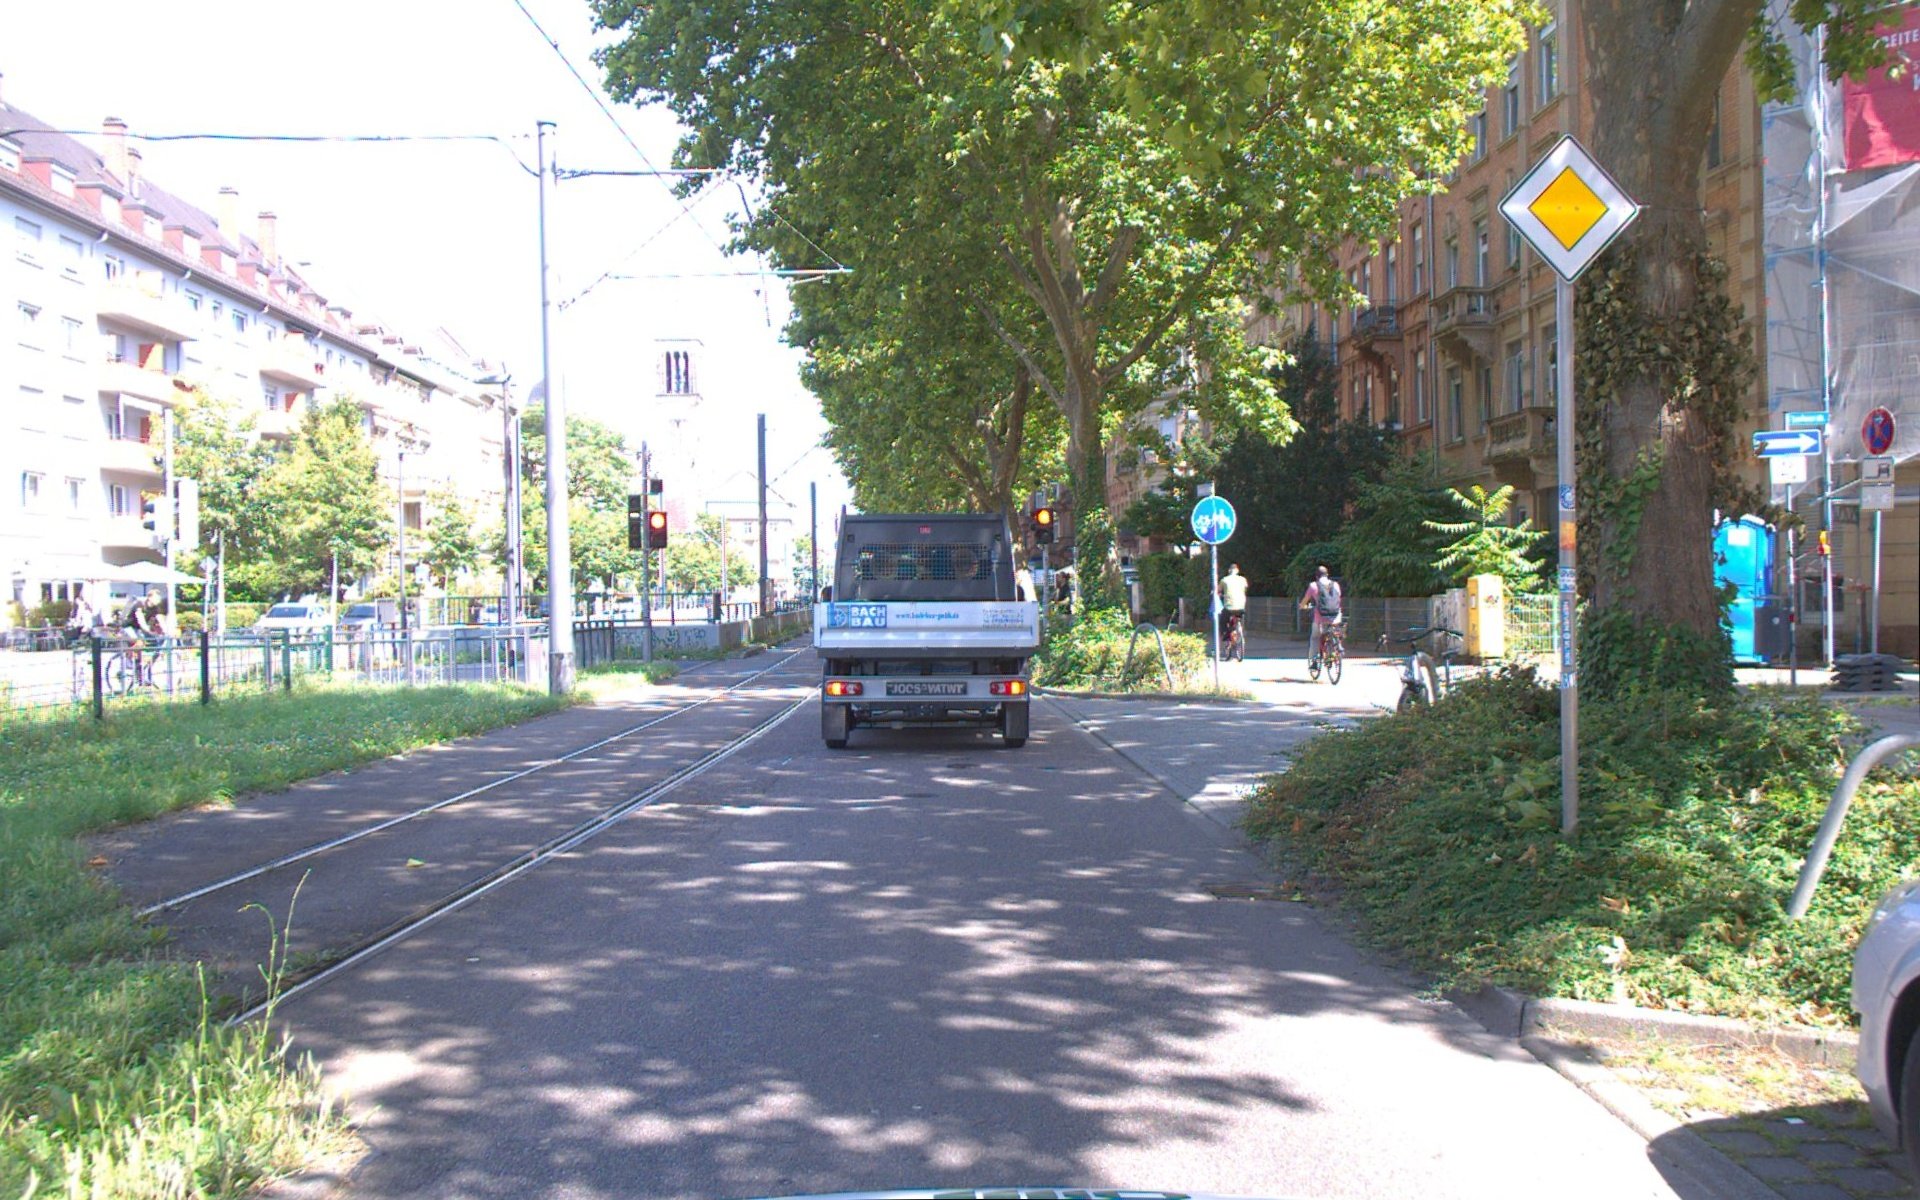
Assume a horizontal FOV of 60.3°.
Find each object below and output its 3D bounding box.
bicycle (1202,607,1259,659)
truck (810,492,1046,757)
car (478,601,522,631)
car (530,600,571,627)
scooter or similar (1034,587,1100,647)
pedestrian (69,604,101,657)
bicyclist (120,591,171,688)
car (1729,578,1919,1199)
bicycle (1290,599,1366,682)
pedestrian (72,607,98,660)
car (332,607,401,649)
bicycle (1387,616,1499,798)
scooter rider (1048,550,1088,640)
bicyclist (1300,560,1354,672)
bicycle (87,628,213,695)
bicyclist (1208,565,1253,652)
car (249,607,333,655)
[{"bbox_3d":[5.039,0.599,30.880,0.661,0.897,2.163,-1,0,-1],"label":"bicycle"},{"bbox_3d":[-0.368,0.219,17.060,2.095,2.359,4.399,1,0,-2],"label":"truck"},{"bbox_3d":[-24.555,0.846,88.375,1.737,1.524,3.993,-1,0,-8],"label":"car"},{"bbox_3d":[-25.191,0.812,101.893,1.735,1.524,3.997,-1,0,-3],"label":"car"},{"bbox_3d":[2.288,0.356,35.378,1.245,1.225,0.655,-2,0,-14],"label":"scooter or similar"},{"bbox_3d":[-27.279,0.941,51.574,0.847,1.600,0.684,-1,0,-26],"label":"pedestrian"},{"bbox_3d":[-14.164,0.680,28.770,0.687,1.651,0.617,-1,0,-35],"label":"bicyclist"},{"bbox_3d":[3.165,0.703,2.250,1.798,1.534,4.486,-2,0,-6],"label":"car"},{"bbox_3d":[5.410,0.571,24.418,0.554,1.131,2.310,-1,0,-1],"label":"bicycle"},{"bbox_3d":[-26.987,1.019,51.015,0.679,1.600,0.542,-1,0,-26],"label":"pedestrian"},{"bbox_3d":[-23.917,1.099,66.735,1.737,1.524,3.993,-3,0,-8],"label":"car"},{"bbox_3d":[3.355,0.696,11.409,0.413,1.125,1.614,-1,0,28],"label":"bicycle"},{"bbox_3d":[2.305,-0.112,35.386,0.655,1.899,0.662,-1,0,-13],"label":"scooter rider"},{"bbox_3d":[5.366,0.230,24.229,0.625,1.601,0.579,-1,0,-1],"label":"bicyclist"},{"bbox_3d":[-14.102,1.059,28.812,1.904,1.067,0.526,-2,0,-35],"label":"bicycle"},{"bbox_3d":[5.025,0.155,30.760,0.667,1.591,0.777,-1,0,-1],"label":"bicyclist"},{"bbox_3d":[-23.441,1.053,58.087,1.737,1.524,3.993,-3,0,-8],"label":"car"}]
